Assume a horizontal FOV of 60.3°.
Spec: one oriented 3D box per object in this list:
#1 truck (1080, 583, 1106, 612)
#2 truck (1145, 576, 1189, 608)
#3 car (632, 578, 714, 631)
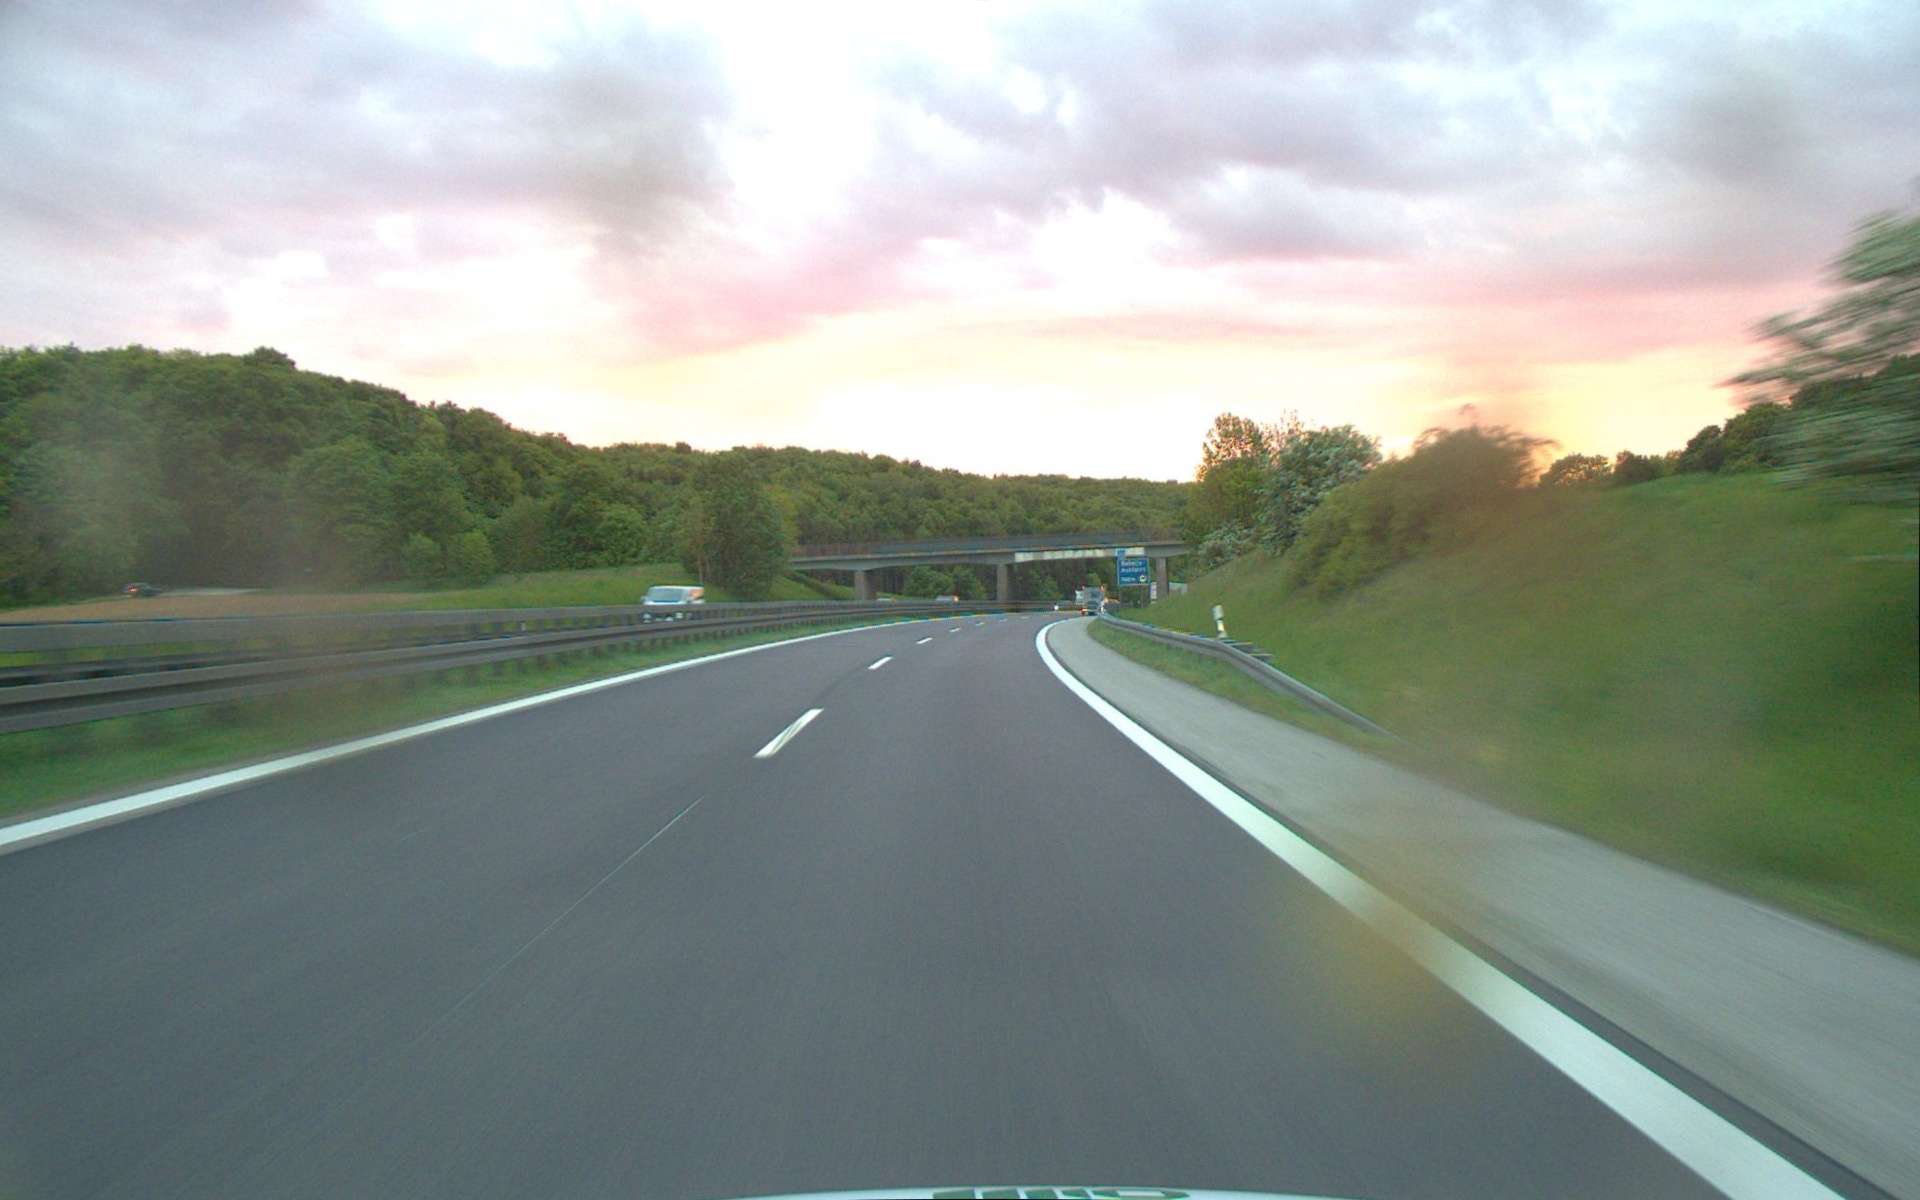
[{"bbox_3d":[13.103,-0.304,162.784,2.227,2.711,5.241,-1,1,7],"label":"truck"},{"bbox_3d":[28.817,-1.078,229.637,3.874,4.362,14.332,0,0,16],"label":"truck"},{"bbox_3d":[-12.866,0.162,74.509,2.234,2.048,5.261,-6,0,5],"label":"car"}]
